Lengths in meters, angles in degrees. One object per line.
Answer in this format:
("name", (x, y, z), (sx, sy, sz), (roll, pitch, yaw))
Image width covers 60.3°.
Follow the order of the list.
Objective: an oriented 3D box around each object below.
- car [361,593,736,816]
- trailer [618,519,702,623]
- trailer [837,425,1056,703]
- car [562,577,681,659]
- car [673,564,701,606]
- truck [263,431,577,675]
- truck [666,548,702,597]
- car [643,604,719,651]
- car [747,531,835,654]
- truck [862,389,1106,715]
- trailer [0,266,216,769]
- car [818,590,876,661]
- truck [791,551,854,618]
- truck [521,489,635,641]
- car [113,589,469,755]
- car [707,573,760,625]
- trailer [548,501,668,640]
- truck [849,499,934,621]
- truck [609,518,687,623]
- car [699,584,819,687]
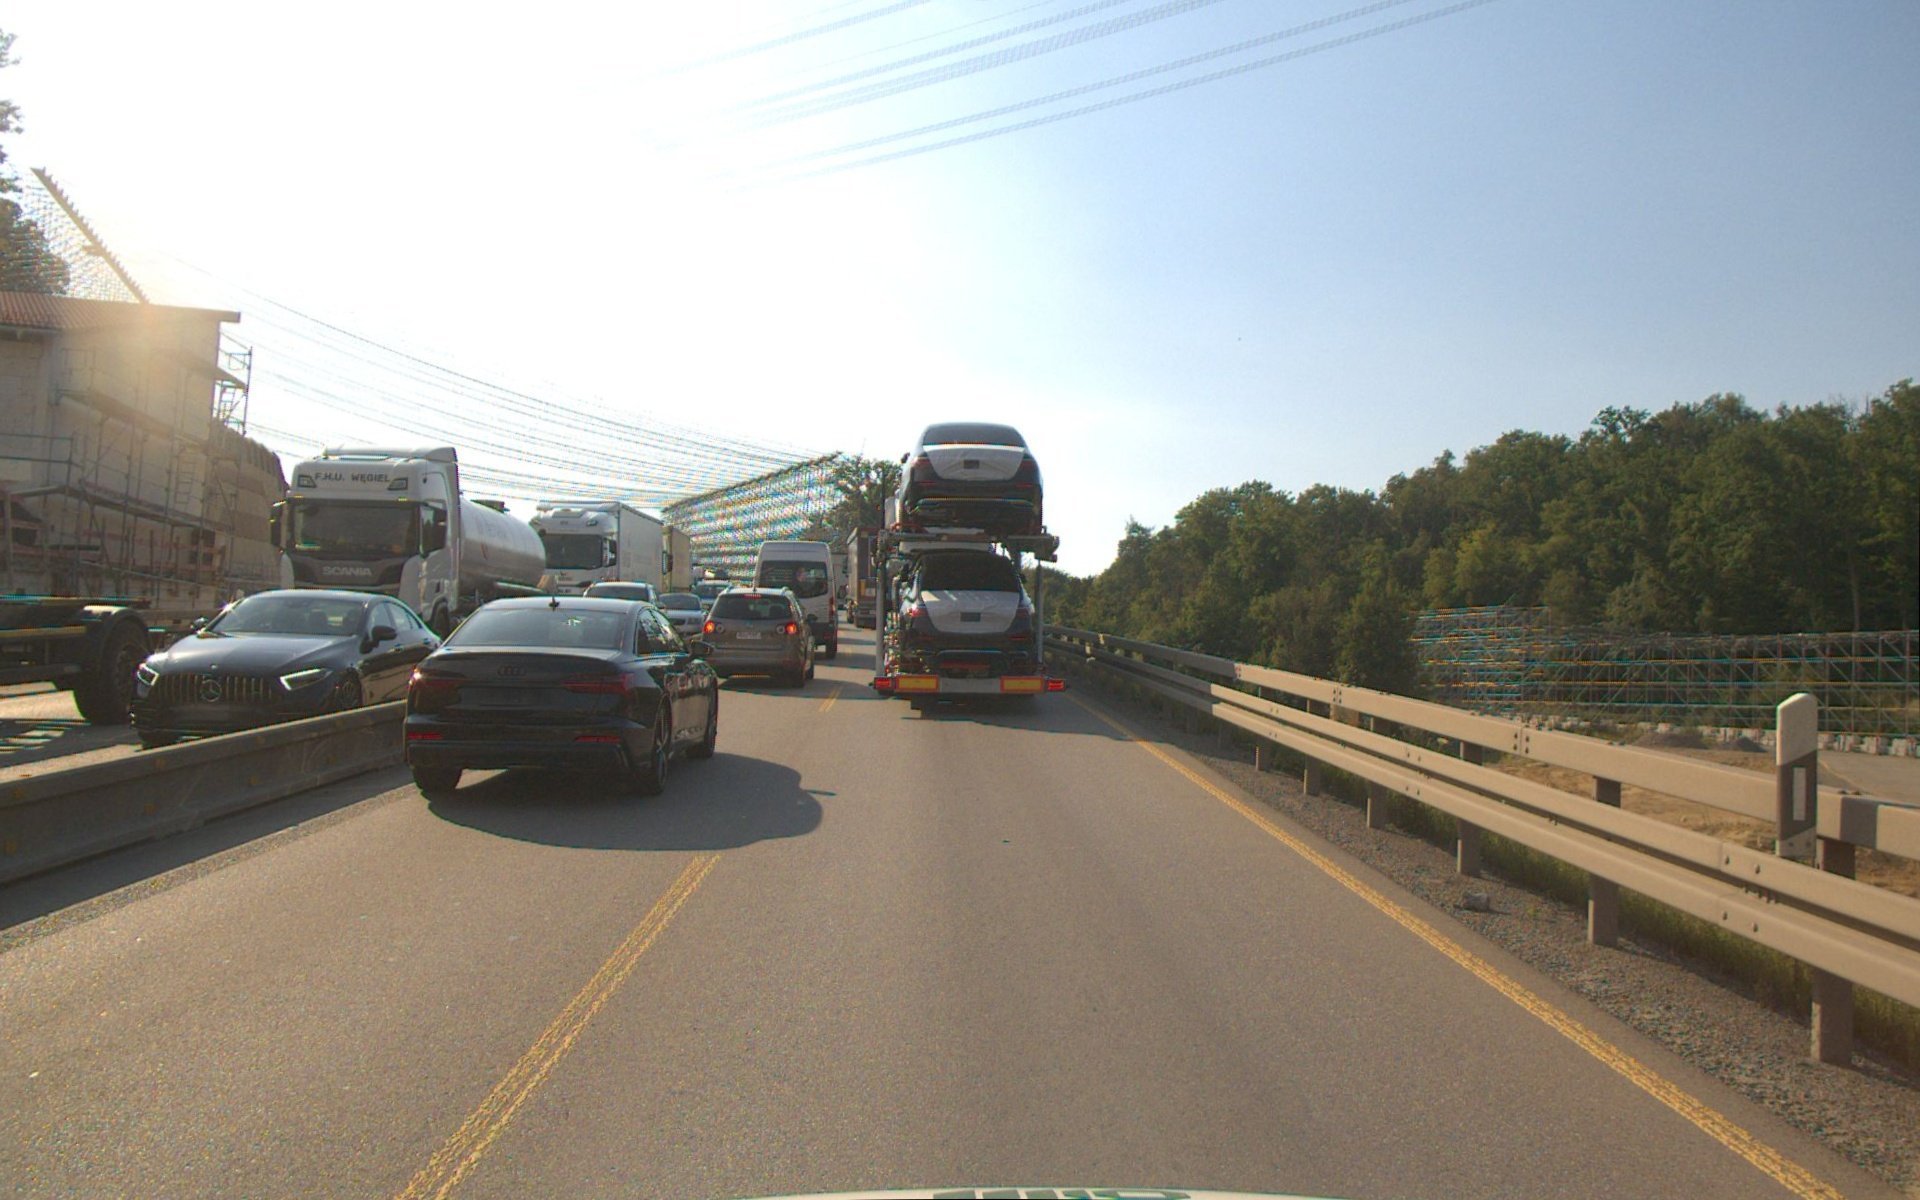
("car", (-3.163, 0.741, 13.896), (1.901, 1.506, 5.220), (0, -1, -1))
("trailer", (-14.180, -1.160, 79.169), (2.837, 4.471, 14.360), (0, -1, -6))
("trailer", (-0.753, -0.399, 31.915), (2.819, 4.064, 15.258), (0, -1, -6))
("car", (-7.300, 0.393, 36.079), (1.809, 1.676, 4.557), (0, -1, -2))
("car", (-18.732, -1.029, 113.603), (1.636, 2.813, 4.952), (1, 0, -7))
("truck", (-10.559, -0.812, 34.389), (2.753, 4.039, 13.884), (0, 0, -3))
("truck", (-23.983, -2.379, 144.034), (2.591, 4.065, 9.016), (1, 0, -7))
("car", (-7.918, 0.764, 47.221), (1.677, 1.274, 4.048), (0, -1, -3))
("car", (-3.999, -0.129, 39.052), (1.941, 2.731, 4.141), (0, -1, -6))
("truck", (0.147, -0.547, 23.550), (2.814, 4.050, 5.763), (0, -1, -6))
("trailer", (-9.401, -0.764, 10.262), (2.646, 4.278, 15.991), (0, -1, -1))
("car", (-3.392, 0.772, 49.205), (1.636, 2.019, 3.814), (0, -1, -5))
("truck", (-10.426, -1.207, 124.311), (3.582, 4.758, 11.667), (1, 1, -10))
("truck", (-11.573, -0.943, 50.563), (2.395, 4.347, 6.316), (0, -1, -4))
("car", (-6.494, 0.665, 16.719), (1.704, 1.427, 4.901), (0, -1, -2))
("car", (-8.897, -0.067, 65.256), (1.797, 1.950, 4.860), (1, 1, -5))
("trailer", (-12.087, -0.818, 57.854), (2.405, 4.340, 12.134), (0, -1, -4))
("truck", (-3.099, -1.643, 71.007), (3.165, 4.758, 11.684), (1, 1, -5))
("truck", (-13.436, -1.196, 71.643), (2.838, 4.347, 5.763), (0, -1, -6))
("car", (-3.323, 0.597, 27.998), (1.666, 1.615, 4.144), (0, -1, -2))
